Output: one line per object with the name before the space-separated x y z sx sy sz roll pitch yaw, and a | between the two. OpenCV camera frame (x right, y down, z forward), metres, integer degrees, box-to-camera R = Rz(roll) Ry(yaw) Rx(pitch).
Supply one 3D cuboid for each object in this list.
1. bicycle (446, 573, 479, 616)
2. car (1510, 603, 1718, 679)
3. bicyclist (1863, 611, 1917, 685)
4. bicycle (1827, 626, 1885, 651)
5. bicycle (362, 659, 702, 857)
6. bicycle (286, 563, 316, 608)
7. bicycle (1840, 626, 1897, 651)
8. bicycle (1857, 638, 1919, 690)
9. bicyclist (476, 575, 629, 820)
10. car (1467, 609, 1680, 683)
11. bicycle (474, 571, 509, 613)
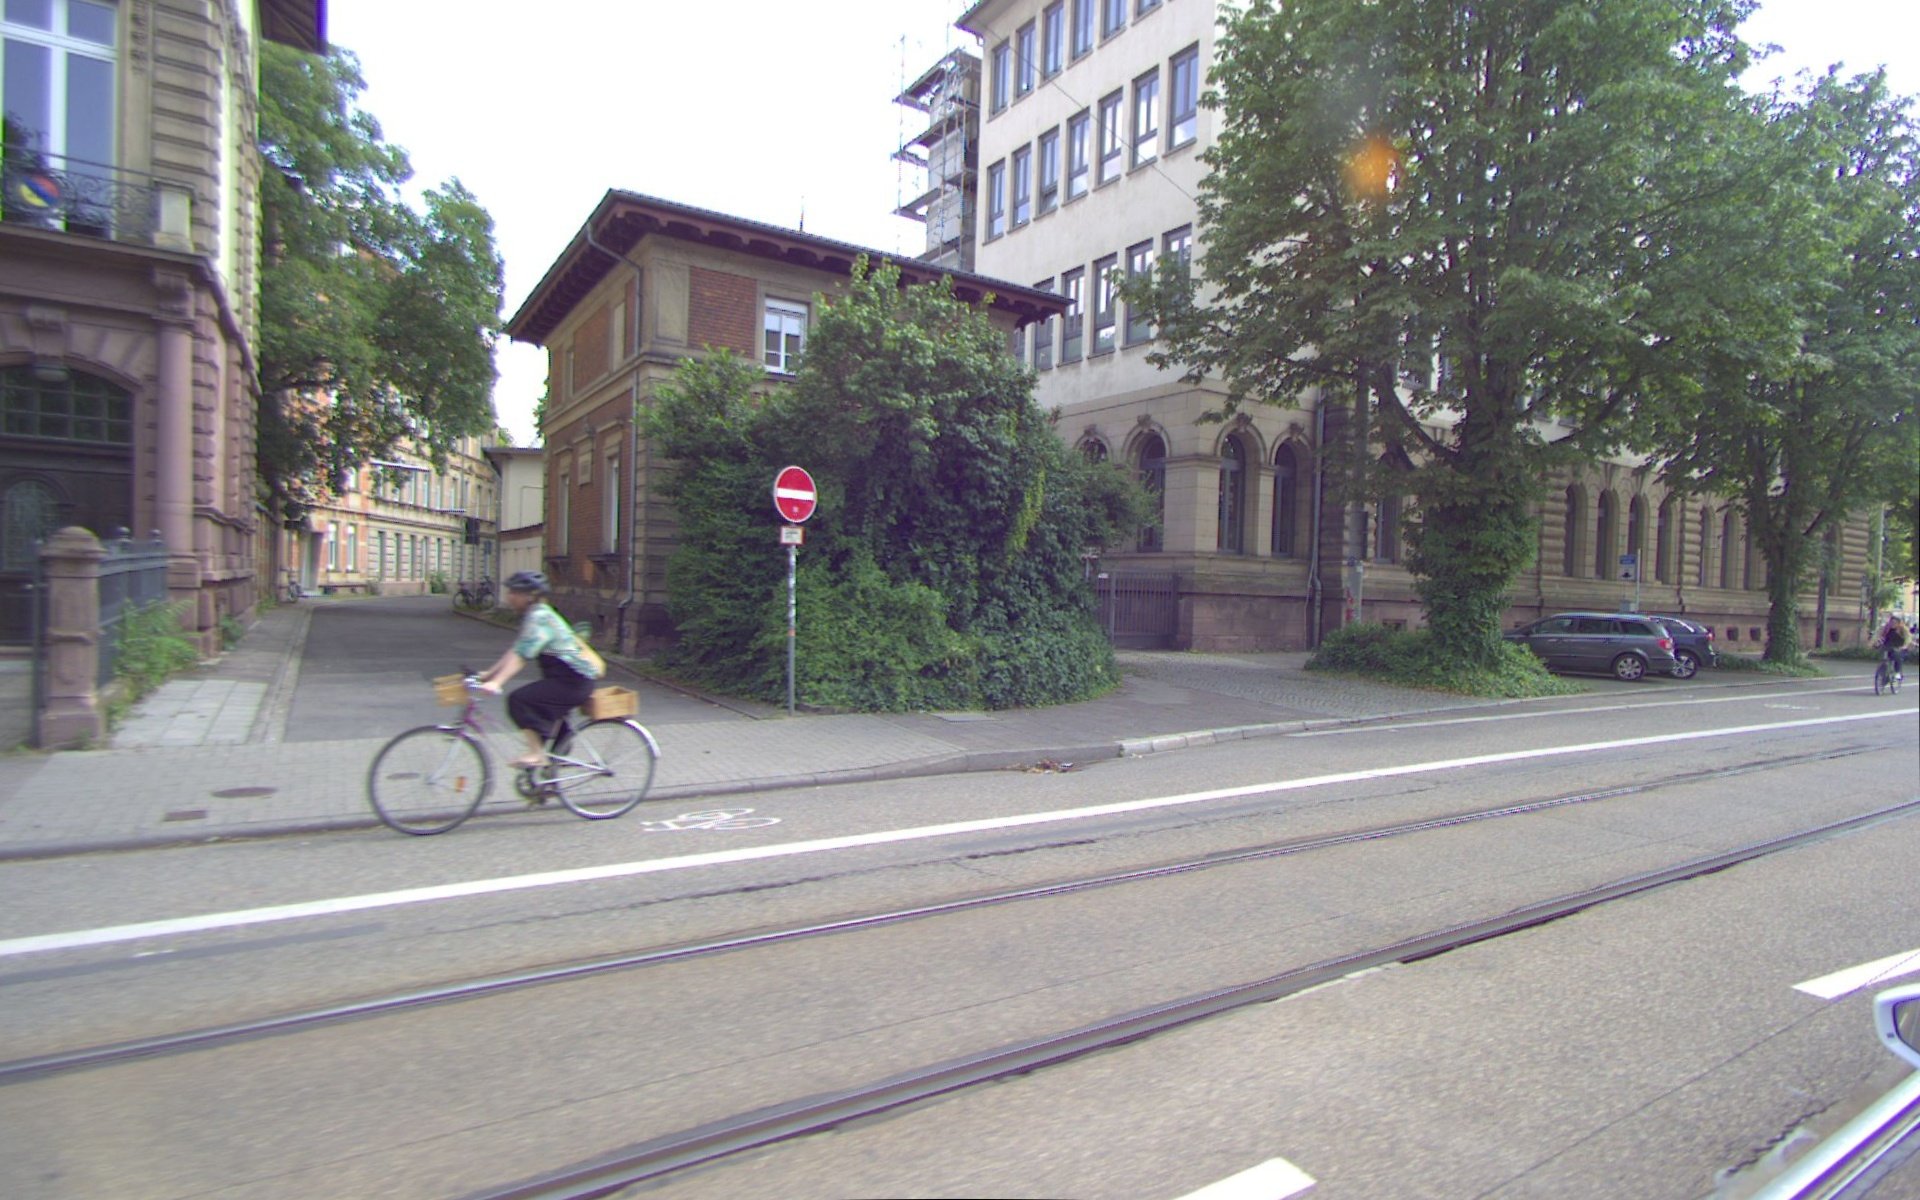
bicycle | -18.359 -0.205 37.045 0.749 1.506 2.238 1 1 -35
car | 16.528 0.977 25.663 4.162 1.571 1.925 3 2 26
bicyclist | 19.865 1.015 21.450 0.859 1.540 0.686 1 0 -36
bicycle | 47.126 2.014 52.853 0.722 1.184 2.100 2 2 -34
bicycle | -2.781 0.971 6.640 1.999 1.111 0.600 1 -4 -31
bicycle | -22.922 -0.522 34.922 0.749 1.506 2.473 1 1 -35
bicycle | 48.846 2.072 54.013 0.722 1.184 2.100 2 2 -34
bicycle | 19.890 1.341 21.476 1.802 1.031 0.694 1 0 -37
bicyclist | -2.723 0.623 6.703 0.872 1.512 0.596 1 -4 -30
car | 14.521 1.028 24.007 4.166 1.466 1.790 2 1 30
bicycle | -17.559 -0.310 37.602 0.749 1.506 2.387 1 1 -35
